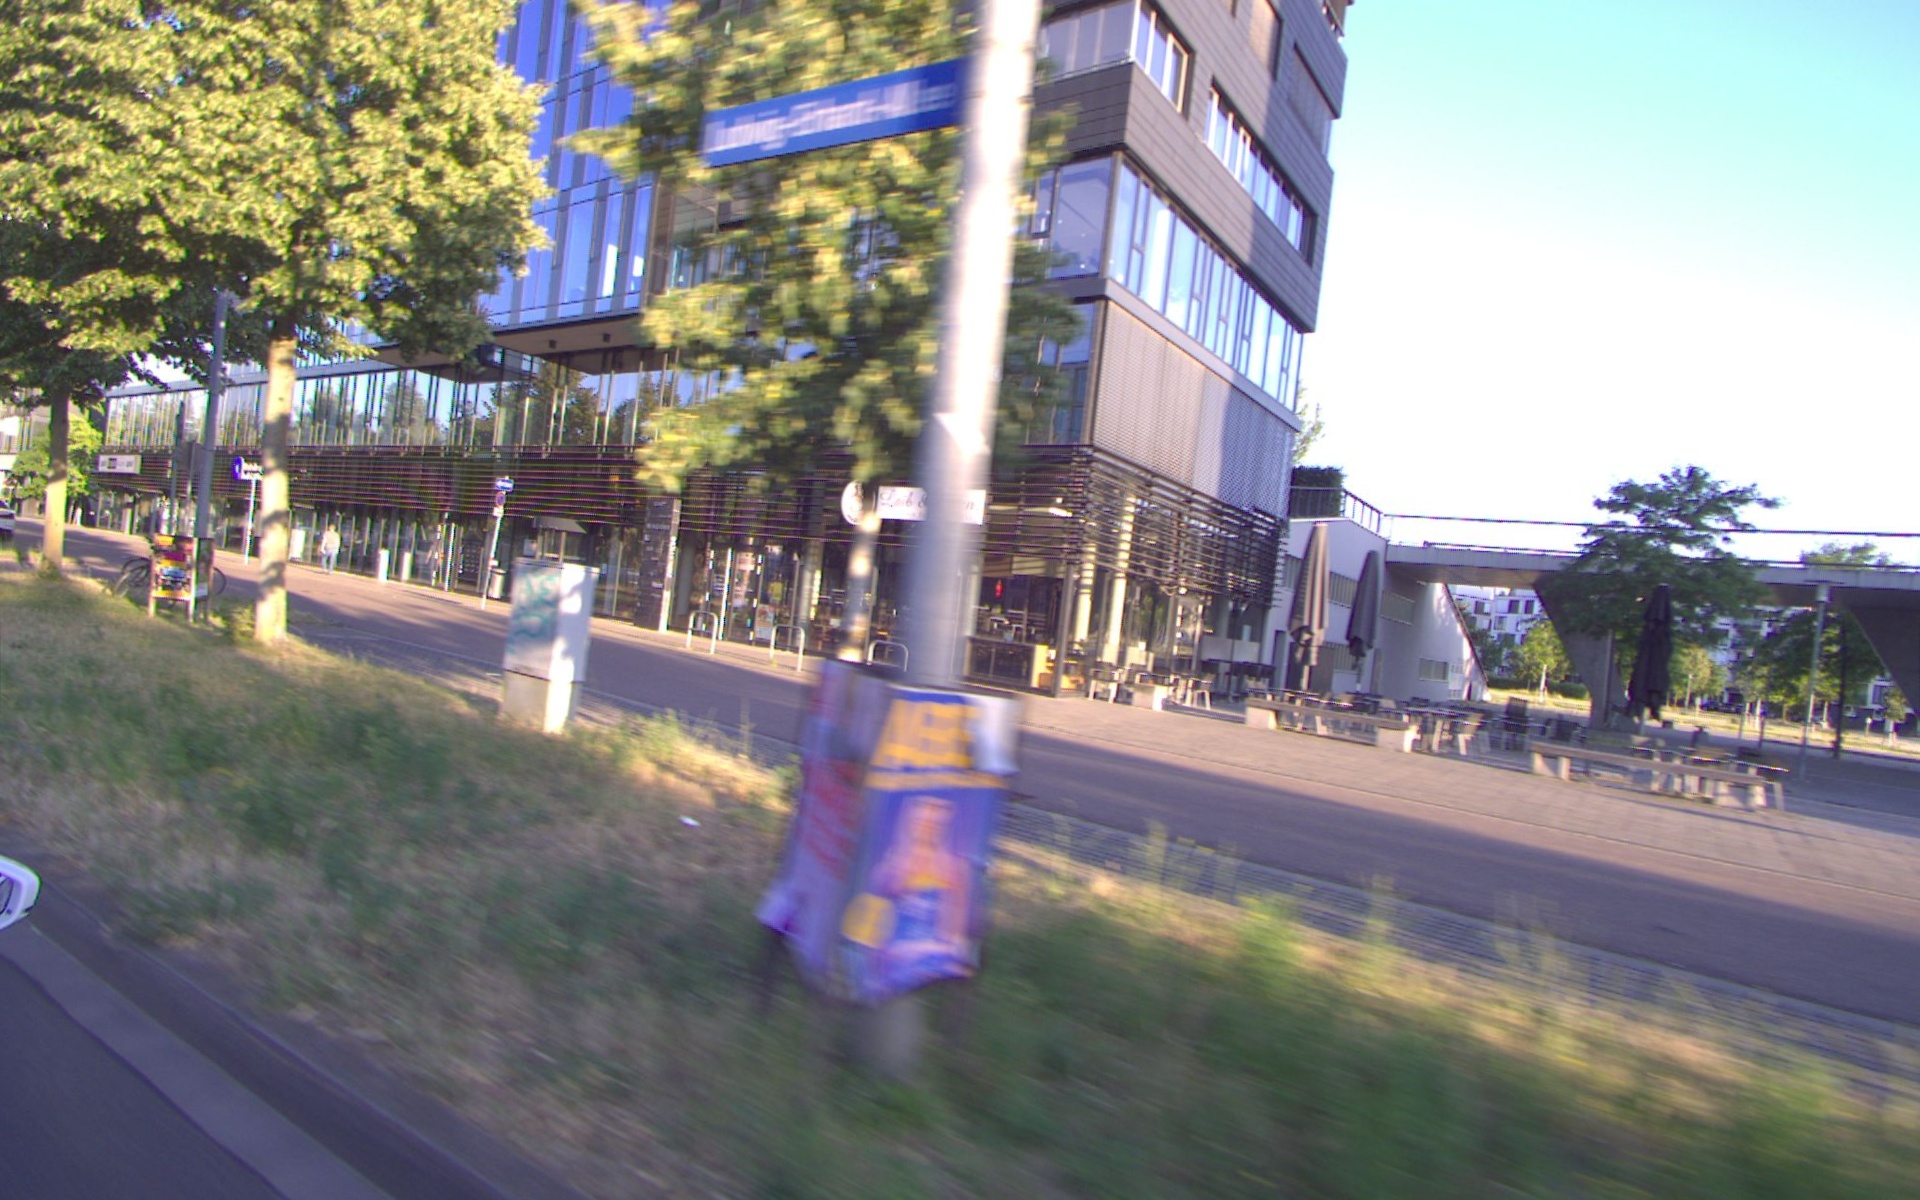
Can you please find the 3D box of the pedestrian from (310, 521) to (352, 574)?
[{"bbox_3d":[-23.187,-1.922,37.095,0.898,1.819,0.897,7,0,35],"label":"pedestrian"}]

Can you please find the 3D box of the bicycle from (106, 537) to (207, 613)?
[{"bbox_3d":[-12.580,-0.399,15.743,1.658,1.007,0.580,6,0,29],"label":"bicycle"}]

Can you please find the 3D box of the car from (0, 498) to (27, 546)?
[{"bbox_3d":[-34.472,-2.917,34.953,4.962,1.514,1.919,6,-2,35],"label":"car"}]

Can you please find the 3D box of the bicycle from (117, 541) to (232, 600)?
[{"bbox_3d":[-15.492,-0.574,19.875,1.699,0.921,0.360,7,0,-21],"label":"bicycle"}]
